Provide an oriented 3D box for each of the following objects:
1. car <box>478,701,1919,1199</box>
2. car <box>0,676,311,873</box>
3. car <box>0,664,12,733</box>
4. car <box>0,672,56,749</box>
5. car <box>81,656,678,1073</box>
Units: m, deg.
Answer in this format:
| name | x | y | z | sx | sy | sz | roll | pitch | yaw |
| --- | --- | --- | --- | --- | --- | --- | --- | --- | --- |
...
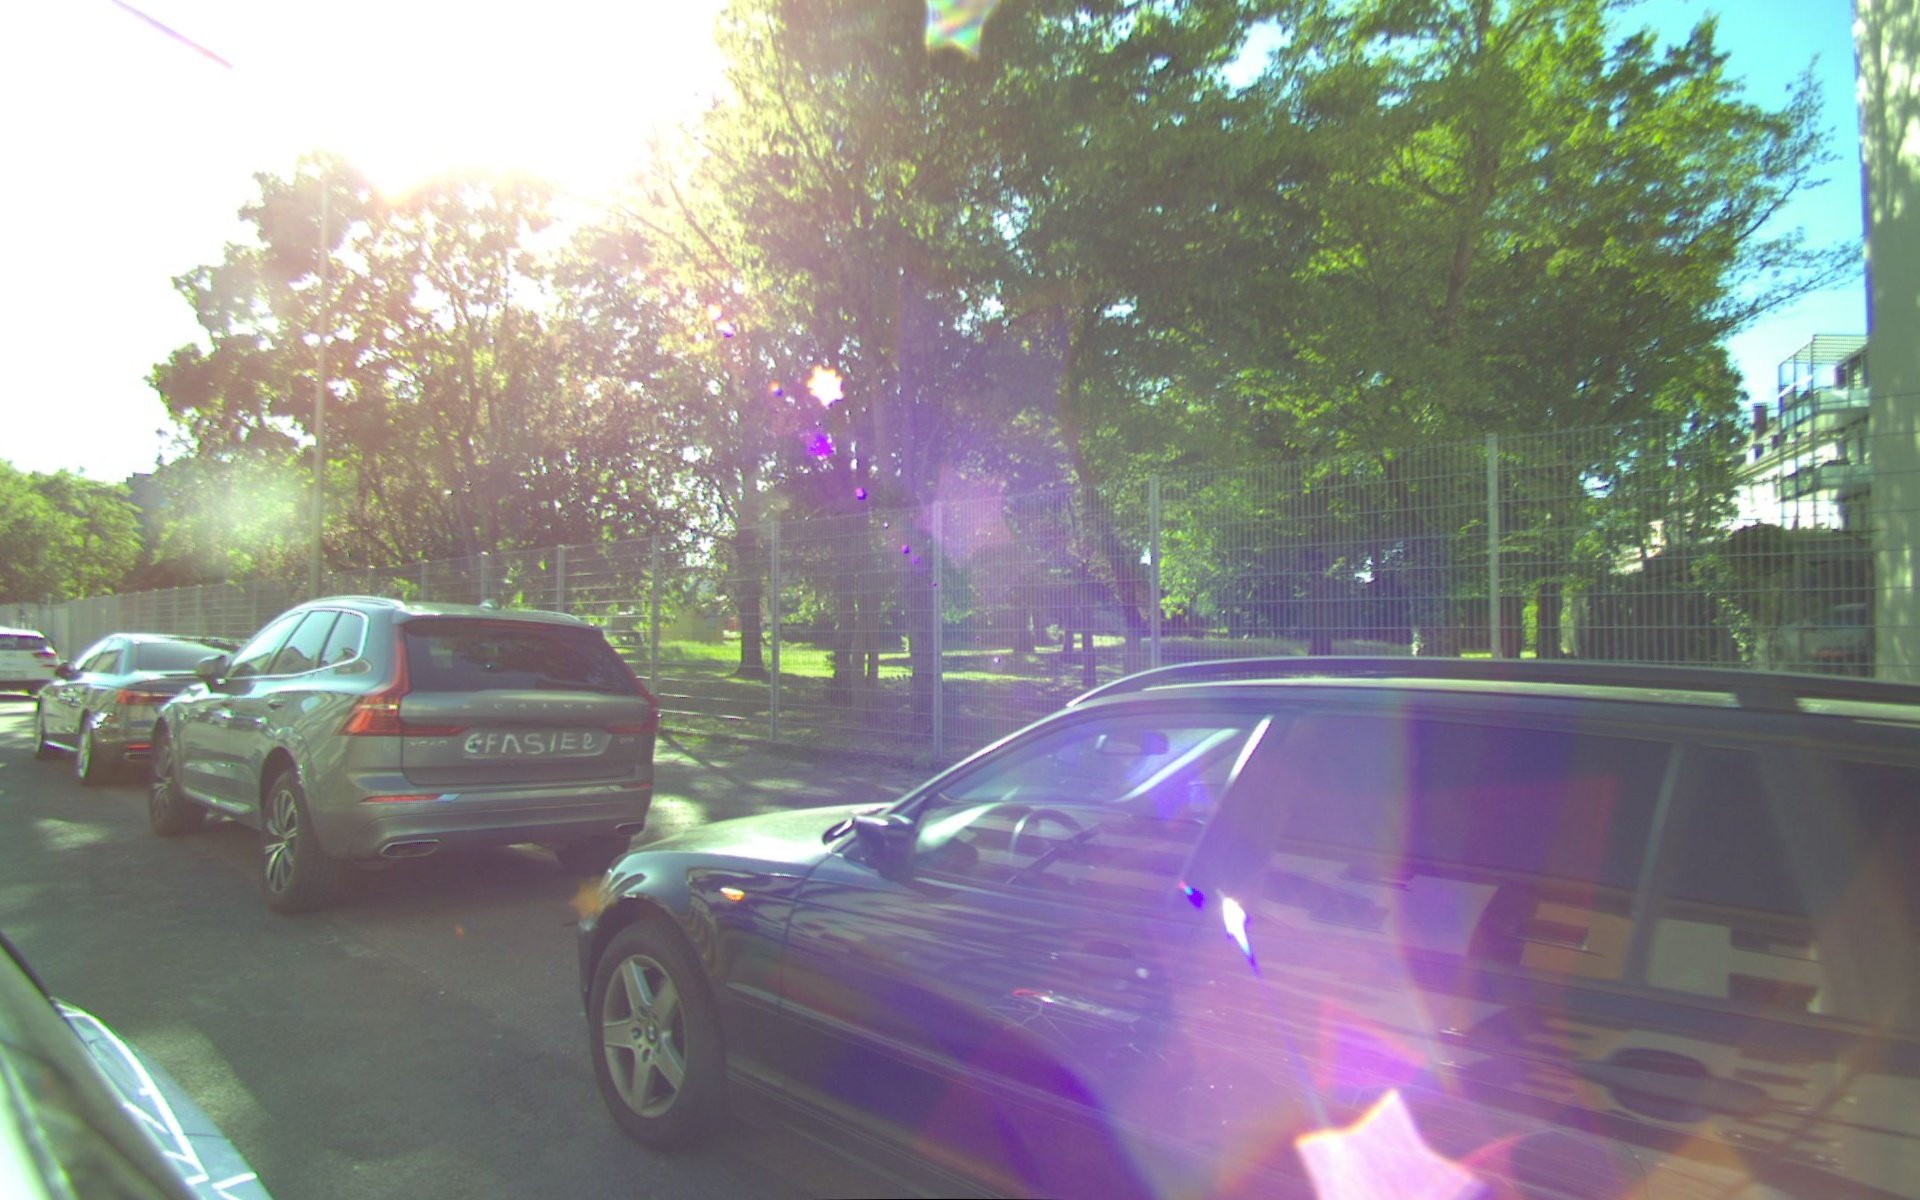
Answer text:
| name | x | y | z | sx | sy | sz | roll | pitch | yaw |
| --- | --- | --- | --- | --- | --- | --- | --- | --- | --- |
| car | 0.791 | 1.132 | 2.328 | 4.458 | 1.574 | 1.773 | -1 | -5 | 42 |
| car | -8.512 | 1.580 | 10.406 | 4.498 | 1.482 | 1.776 | -2 | -4 | 40 |
| car | -25.311 | 2.432 | 25.497 | 3.612 | 1.656 | 1.548 | -2 | -5 | 40 |
| car | -20.982 | 2.328 | 21.733 | 4.117 | 1.456 | 1.775 | -2 | -4 | 41 |
| car | -4.063 | 1.275 | 6.627 | 4.930 | 1.676 | 1.858 | -2 | -6 | 42 |
